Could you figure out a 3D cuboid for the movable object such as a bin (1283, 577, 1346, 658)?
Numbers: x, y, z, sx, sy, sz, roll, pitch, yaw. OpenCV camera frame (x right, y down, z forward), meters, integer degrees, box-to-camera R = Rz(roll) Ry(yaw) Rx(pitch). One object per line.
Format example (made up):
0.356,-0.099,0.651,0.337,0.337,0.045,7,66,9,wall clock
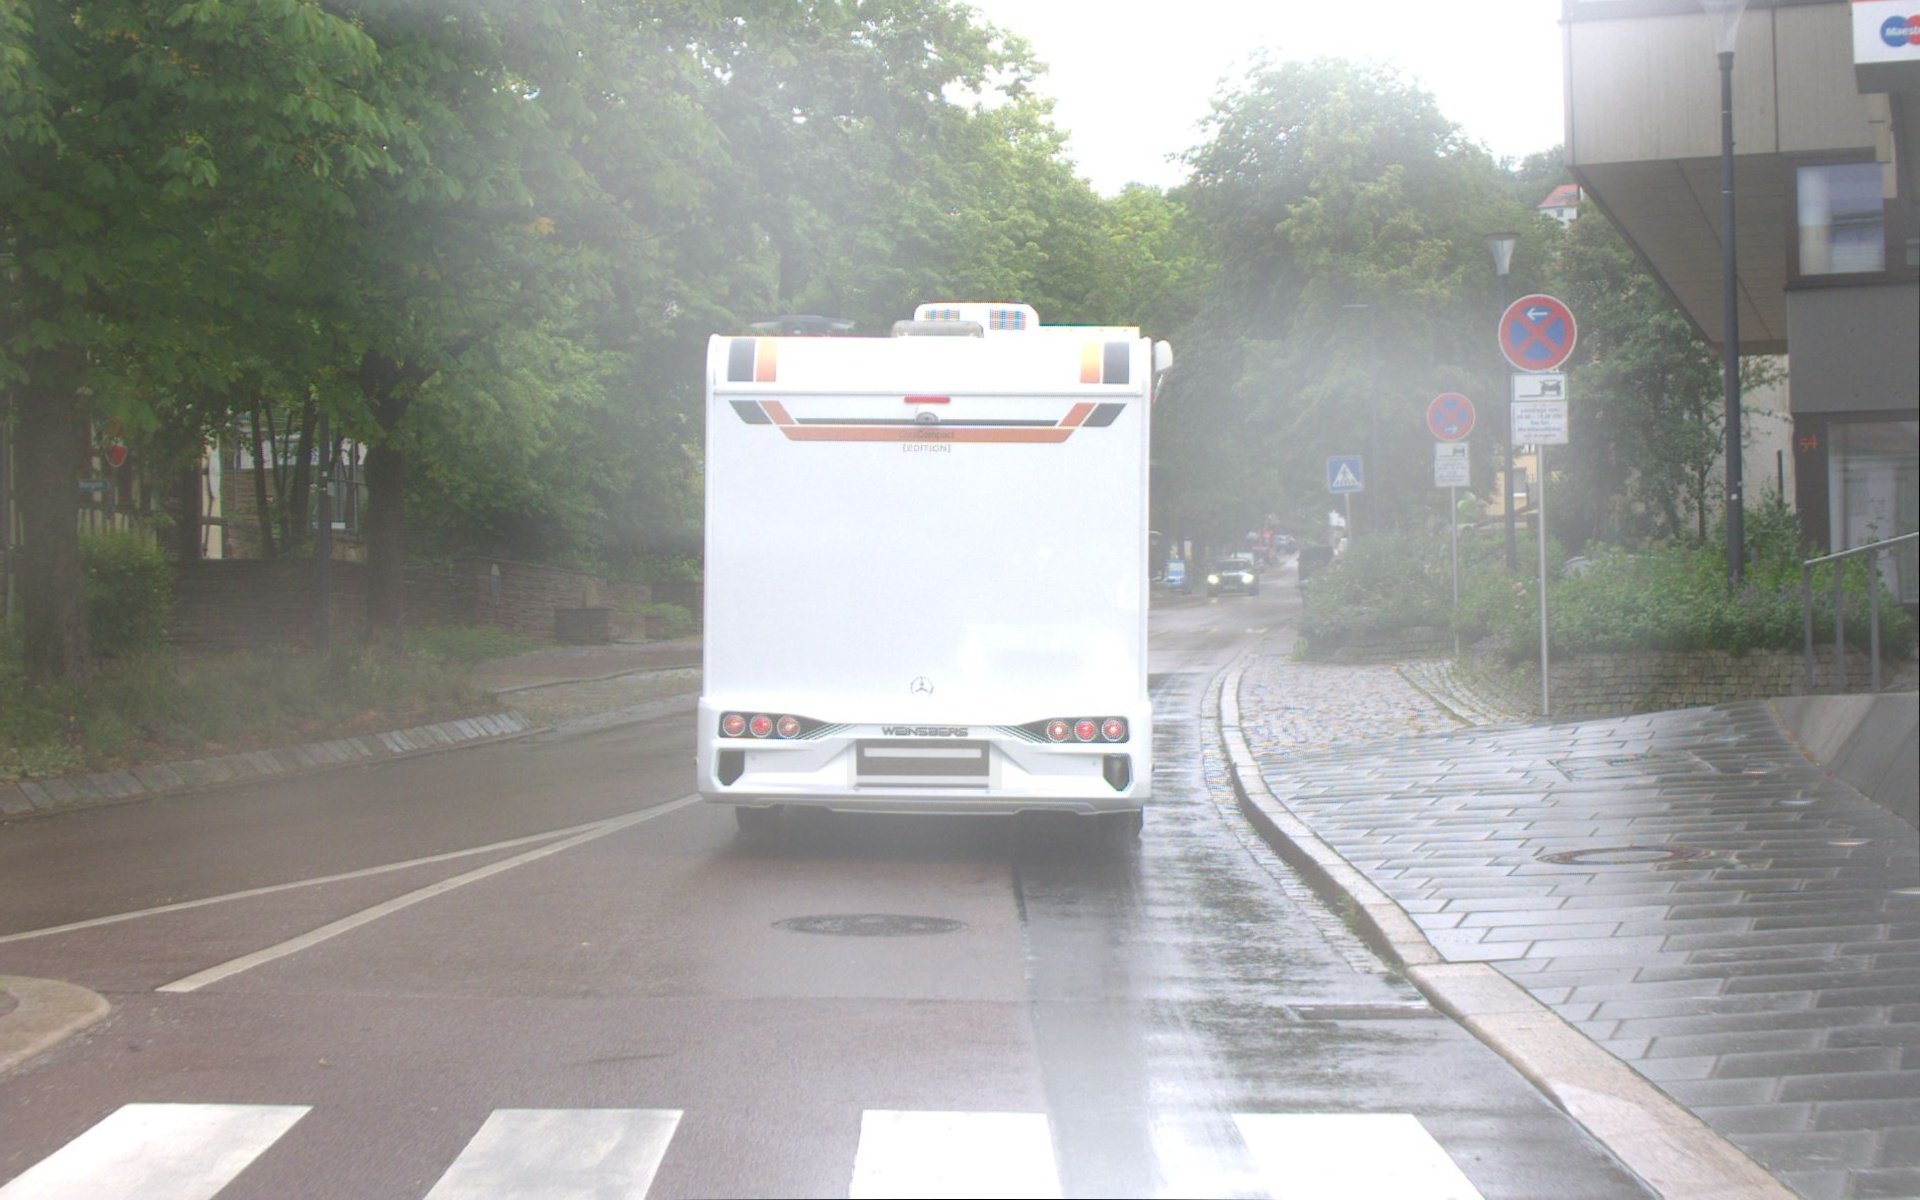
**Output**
5.029,0.251,48.743,0.704,1.120,0.571,-2,-1,23,movable object such as a bin

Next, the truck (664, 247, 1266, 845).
0.047,-0.217,19.606,2.806,2.787,6.106,-2,-1,0,truck
